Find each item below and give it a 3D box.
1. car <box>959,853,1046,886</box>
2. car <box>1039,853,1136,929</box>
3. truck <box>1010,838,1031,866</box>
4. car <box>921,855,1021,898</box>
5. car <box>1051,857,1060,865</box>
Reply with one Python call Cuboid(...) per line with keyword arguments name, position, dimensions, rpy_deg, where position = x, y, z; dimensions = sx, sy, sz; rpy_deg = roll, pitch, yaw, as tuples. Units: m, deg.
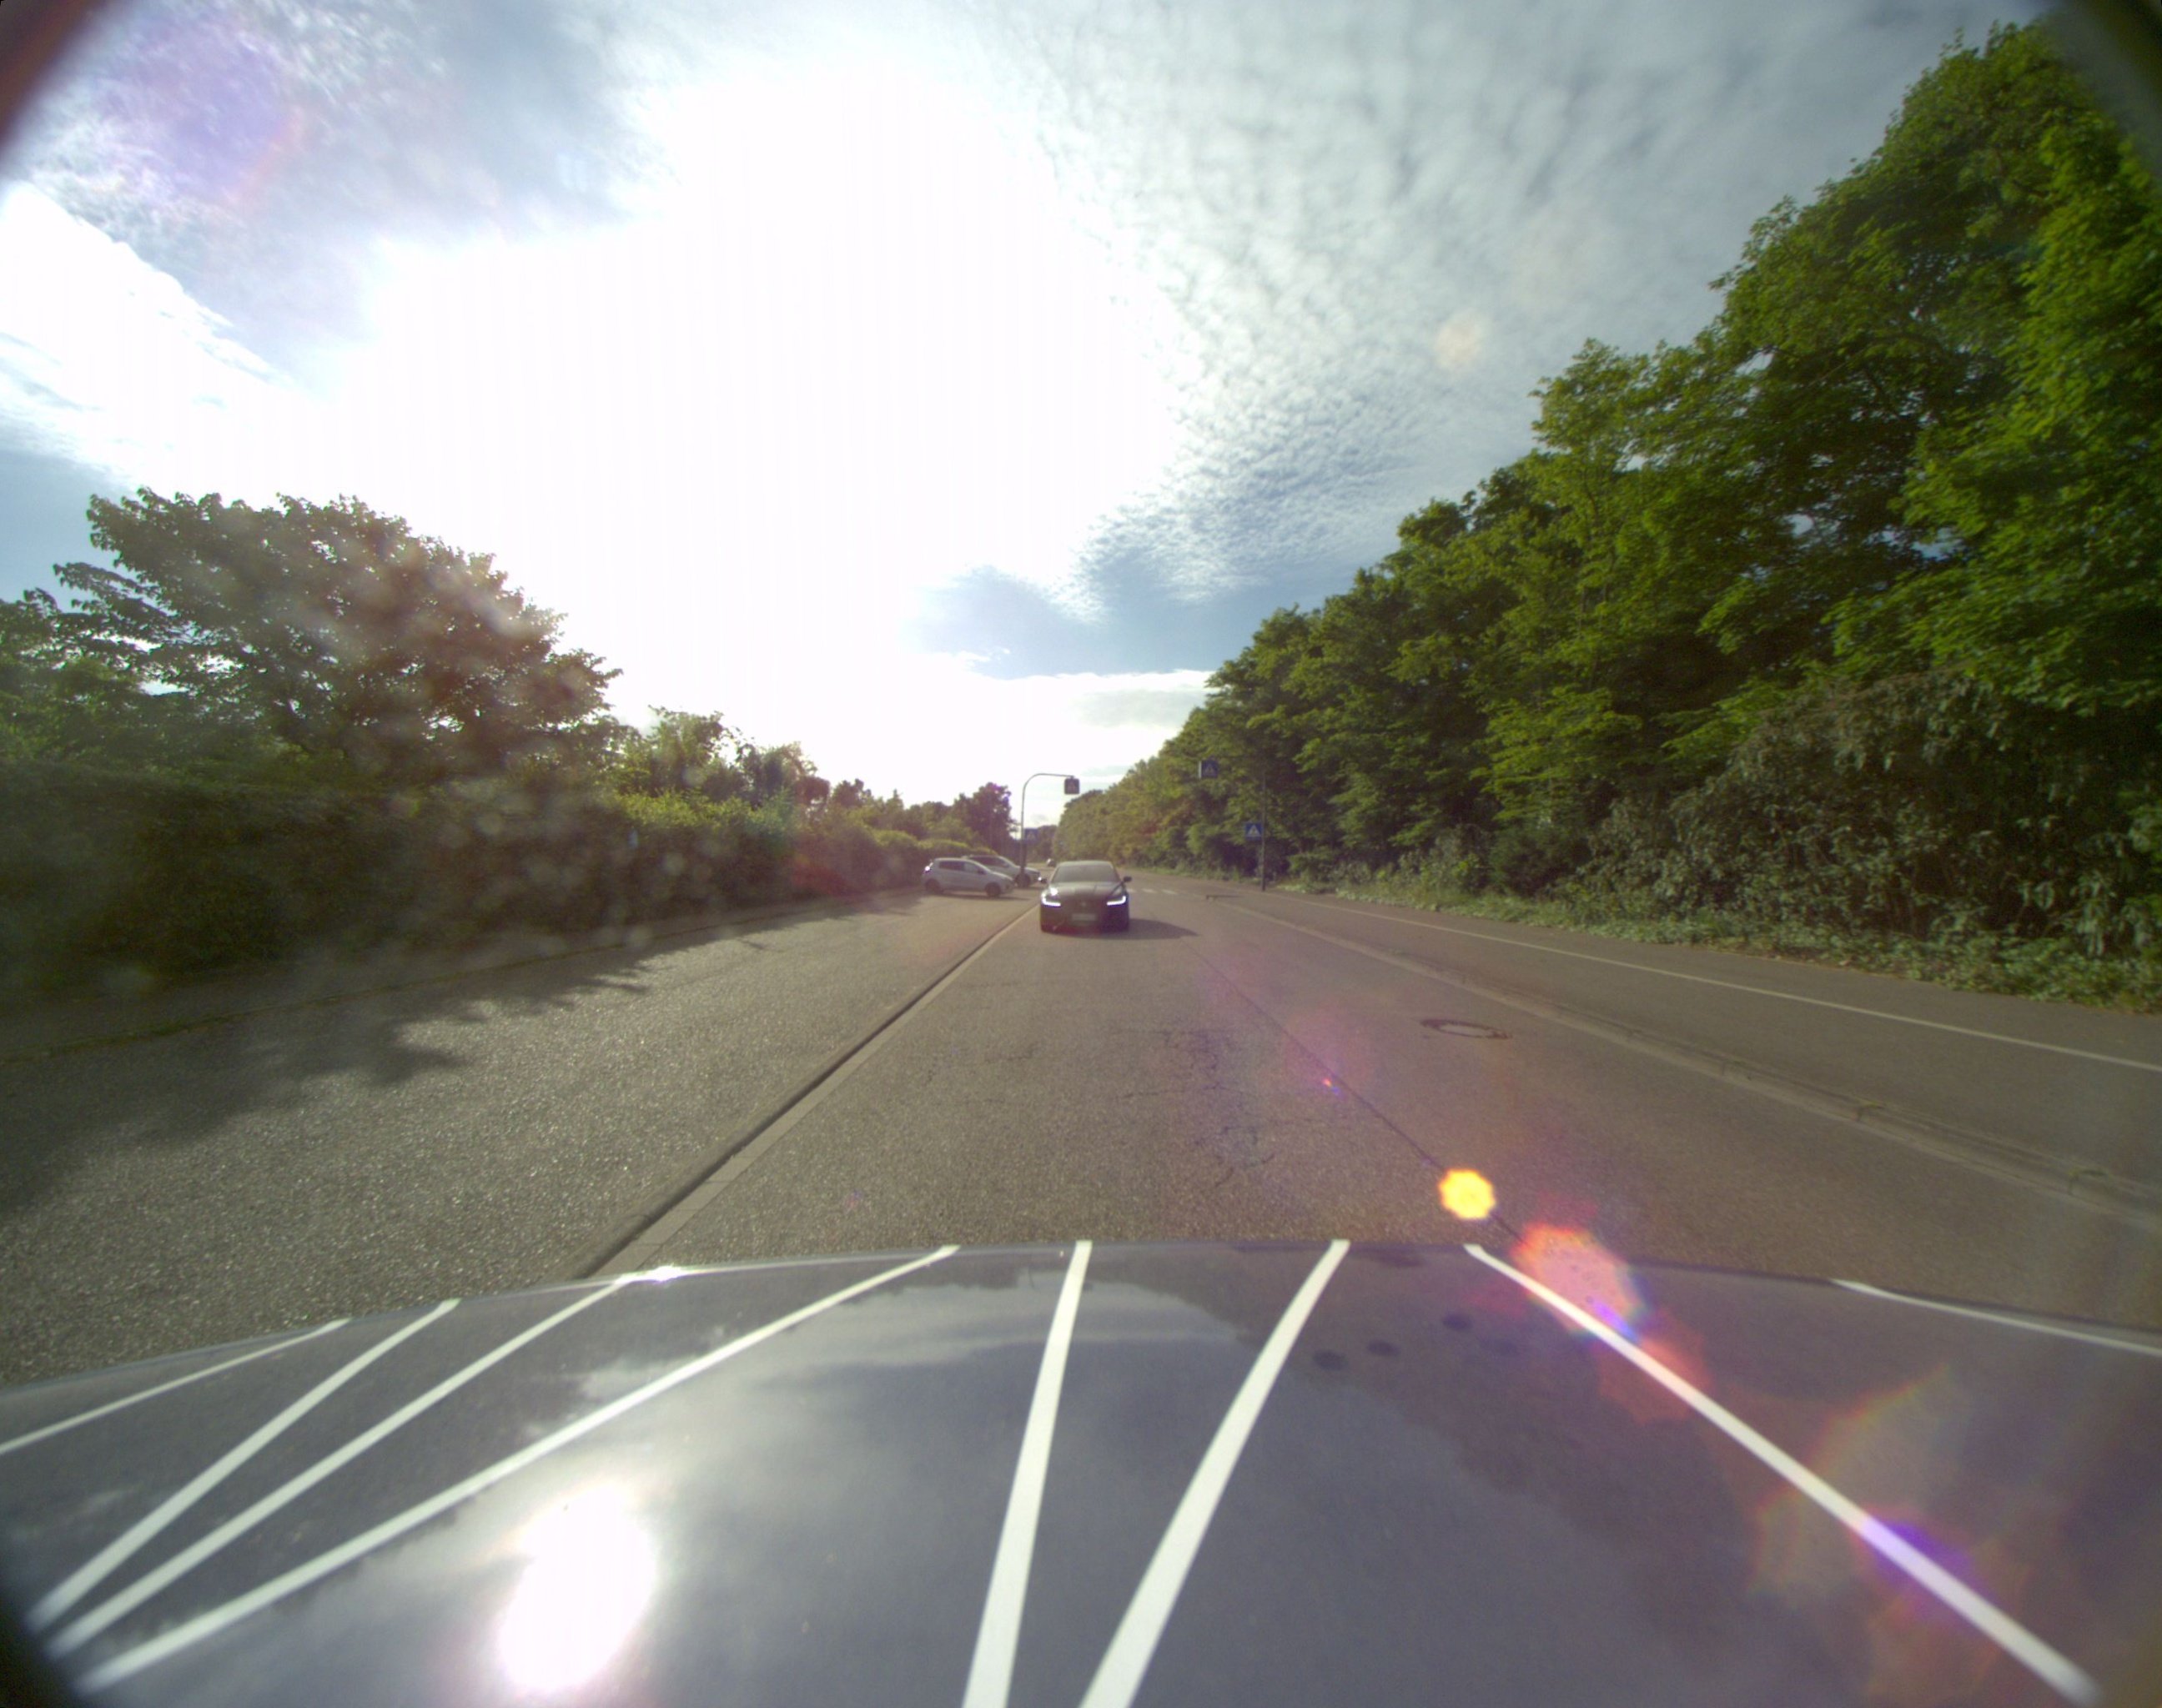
Cuboid(name="car", position=(-4.331, 0.848, 42.476), dimensions=(4.599, 1.689, 1.763), rpy_deg=(2, 0, 1))
Cuboid(name="car", position=(0.116, 0.742, 17.510), dimensions=(1.936, 1.500, 4.679), rpy_deg=(0, 0, 0))
Cuboid(name="truck", position=(-8.966, -0.260, 112.293), dimensions=(2.604, 3.935, 6.279), rpy_deg=(4, -1, -7))
Cuboid(name="car", position=(-4.530, 0.938, 31.751), dimensions=(3.867, 1.481, 1.692), rpy_deg=(4, -1, 0))
Cuboid(name="car", position=(-5.274, 1.362, 155.696), dimensions=(1.807, 1.576, 4.100), rpy_deg=(2, 0, -3))
